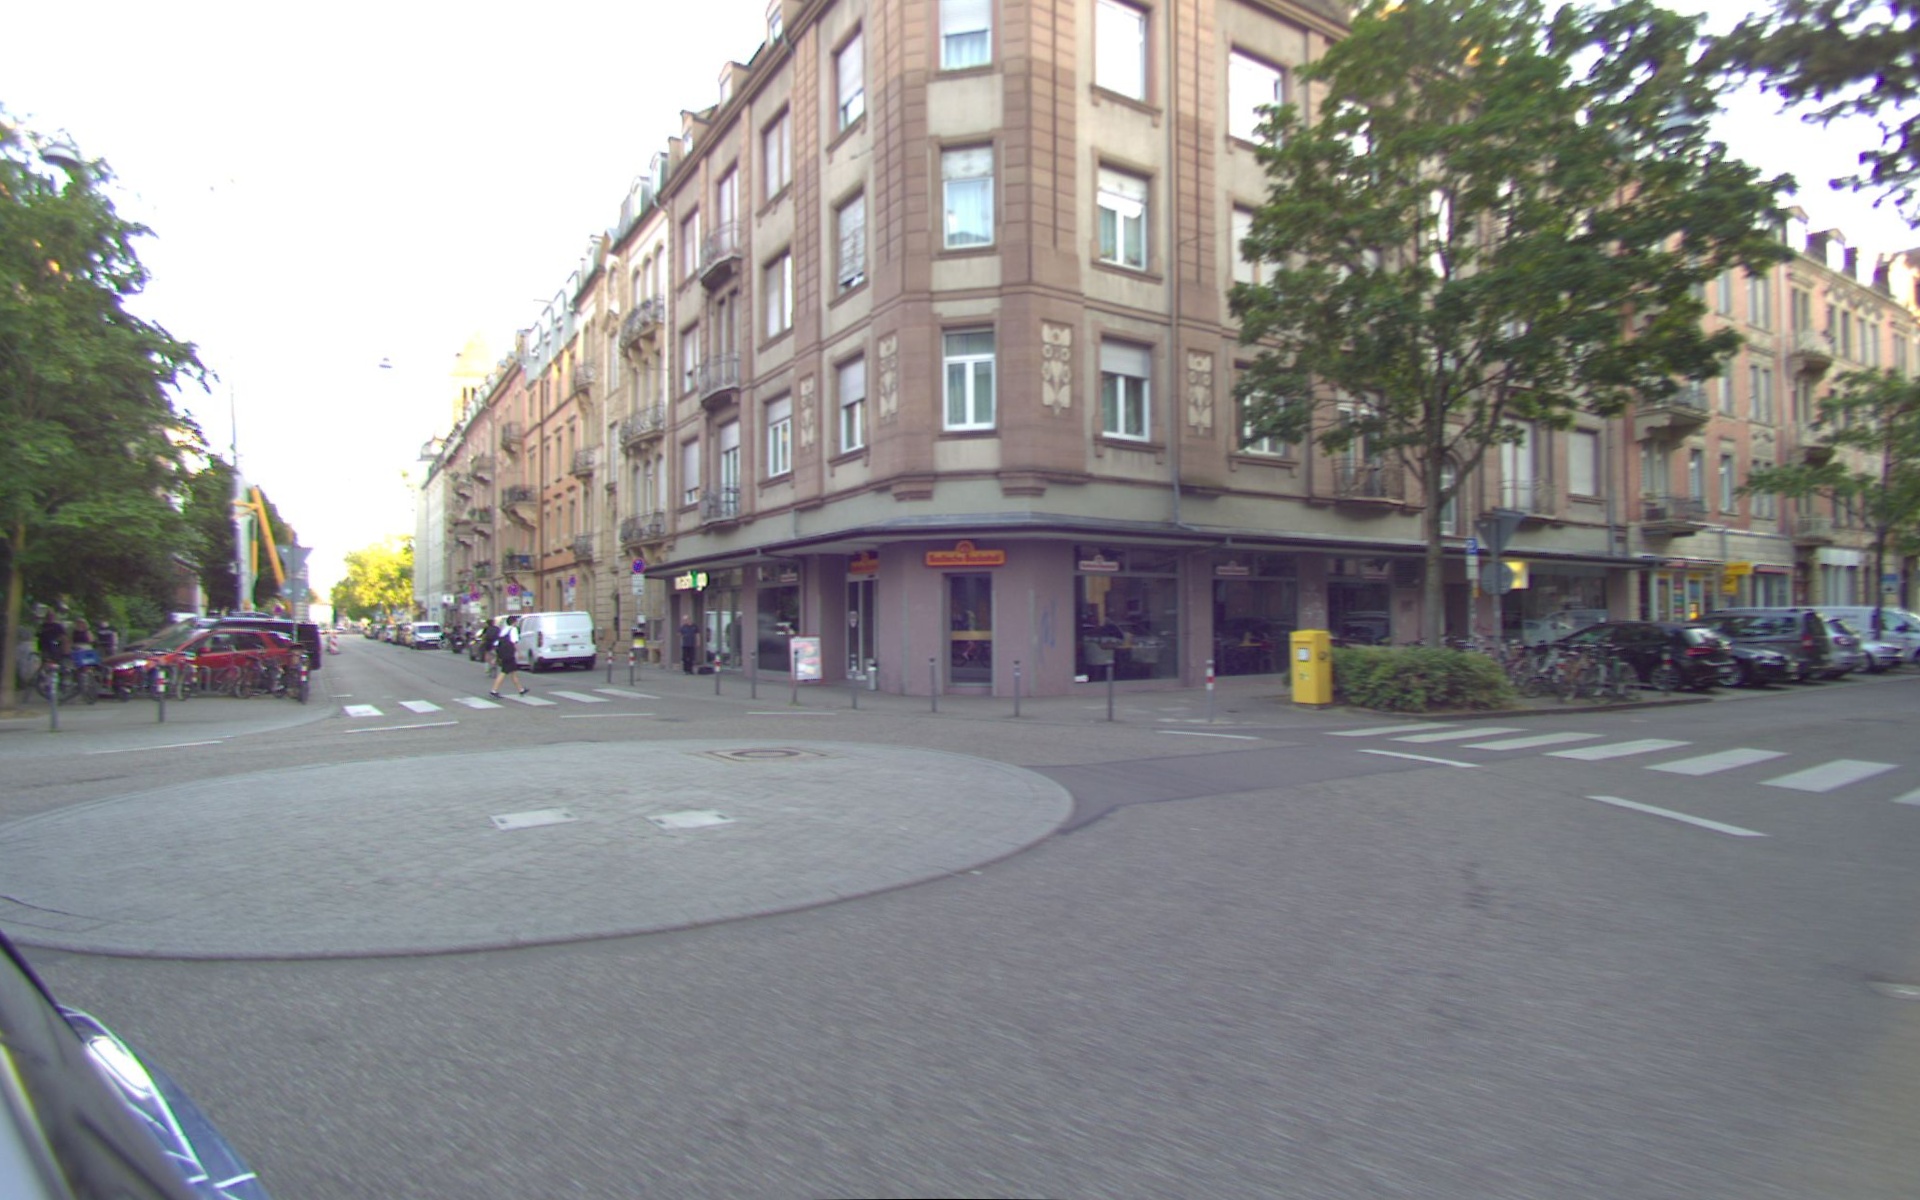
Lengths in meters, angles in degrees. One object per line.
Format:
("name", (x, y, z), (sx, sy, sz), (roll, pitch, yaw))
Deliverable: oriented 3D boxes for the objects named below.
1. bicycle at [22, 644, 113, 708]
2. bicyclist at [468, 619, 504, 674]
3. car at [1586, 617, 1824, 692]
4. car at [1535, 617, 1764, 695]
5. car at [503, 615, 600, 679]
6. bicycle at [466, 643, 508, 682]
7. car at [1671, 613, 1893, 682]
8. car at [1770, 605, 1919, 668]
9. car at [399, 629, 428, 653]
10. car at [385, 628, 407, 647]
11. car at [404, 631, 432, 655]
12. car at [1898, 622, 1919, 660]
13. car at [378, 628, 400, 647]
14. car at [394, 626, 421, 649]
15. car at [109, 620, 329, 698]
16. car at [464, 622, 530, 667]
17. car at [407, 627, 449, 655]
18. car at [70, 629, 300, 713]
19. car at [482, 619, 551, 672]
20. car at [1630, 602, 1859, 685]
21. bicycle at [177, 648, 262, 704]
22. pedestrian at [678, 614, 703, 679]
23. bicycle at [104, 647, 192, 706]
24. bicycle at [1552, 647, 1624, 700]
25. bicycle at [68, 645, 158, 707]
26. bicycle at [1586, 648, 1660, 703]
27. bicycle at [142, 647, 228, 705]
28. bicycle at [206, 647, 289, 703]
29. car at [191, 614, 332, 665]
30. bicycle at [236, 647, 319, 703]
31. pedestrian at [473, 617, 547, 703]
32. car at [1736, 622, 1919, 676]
("bicycle", (-17.383, 1.460, 19.695), (2.107, 1.174, 0.659), (-1, -3, 30))
("bicyclist", (-14.522, 1.412, 30.971), (0.743, 1.653, 1.203), (0, -2, -38))
("car", (16.886, 1.174, 23.126), (1.821, 1.522, 4.010), (1, -1, -34))
("car", (14.722, 1.143, 21.790), (1.692, 1.488, 3.697), (1, -1, -33))
("car", (-13.979, 1.546, 34.491), (2.107, 1.973, 4.782), (-1, -1, -34))
("bicycle", (-14.437, 1.891, 30.866), (0.743, 1.139, 1.980), (0, -2, -38))
("car", (20.846, 1.140, 25.830), (1.876, 1.586, 4.011), (1, -1, -33))
("car", (28.167, 1.088, 30.758), (2.081, 1.844, 5.124), (1, -1, -30))
("car", (-43.654, 3.275, 80.807), (1.966, 1.752, 4.012), (0, 0, -29))
("car", (-54.537, 3.616, 97.798), (1.838, 1.752, 3.811), (0, 0, -29))
("car", (-41.466, 3.265, 77.345), (1.810, 1.654, 3.937), (0, 0, -29))
("car", (34.718, 1.428, 34.409), (1.691, 1.322, 3.822), (1, -1, -33))
("car", (-57.779, 3.757, 102.396), (1.877, 1.752, 3.862), (0, 0, -29))
("car", (-46.417, 3.153, 84.956), (1.966, 1.752, 4.012), (0, 0, -29))
("car", (-22.676, 1.713, 31.207), (2.110, 2.113, 5.091), (-1, 0, 32))
("car", (-20.464, 1.906, 44.613), (2.106, 1.835, 4.553), (0, -1, -32))
("car", (-35.970, 2.733, 68.362), (2.106, 1.835, 4.553), (0, -1, -32))
("car", (-18.176, 1.582, 23.936), (1.818, 1.680, 3.965), (-1, 0, 26))
("car", (-17.321, 1.721, 39.447), (1.849, 1.918, 4.338), (0, -1, -32))
("car", (19.016, 0.997, 24.698), (1.966, 1.852, 4.011), (1, -1, -33))
("bicycle", (-16.138, 1.635, 22.042), (2.107, 1.140, 0.659), (-1, -3, 30))
("pedestrian", (-7.705, 1.320, 28.924), (0.645, 1.792, 0.694), (-1, -2, -15))
("bicycle", (-16.725, 1.548, 20.830), (2.107, 1.140, 0.659), (-1, -3, 30))
("bicycle", (11.813, 1.361, 19.032), (1.464, 0.902, 0.478), (0, 0, -29))
("bicycle", (-17.004, 1.502, 20.310), (2.107, 1.174, 0.659), (-1, -3, 30))
("bicycle", (12.088, 1.366, 18.447), (1.464, 0.902, 0.478), (0, 0, -29))
("bicycle", (-16.426, 1.596, 21.447), (2.107, 1.140, 0.659), (-1, -3, 30))
("bicycle", (-15.989, 1.657, 22.697), (2.107, 1.178, 0.659), (-1, -3, 30))
("car", (-33.372, 1.841, 48.511), (2.331, 2.211, 5.091), (-1, 0, 32))
("bicycle", (-15.451, 1.674, 22.891), (2.107, 1.178, 0.659), (-1, -3, 30))
("pedestrian", (-9.554, 1.251, 21.510), (0.747, 1.757, 1.200), (-2, -1, 32))
("car", (23.946, 1.298, 27.806), (1.691, 1.322, 3.822), (1, -1, -33))
